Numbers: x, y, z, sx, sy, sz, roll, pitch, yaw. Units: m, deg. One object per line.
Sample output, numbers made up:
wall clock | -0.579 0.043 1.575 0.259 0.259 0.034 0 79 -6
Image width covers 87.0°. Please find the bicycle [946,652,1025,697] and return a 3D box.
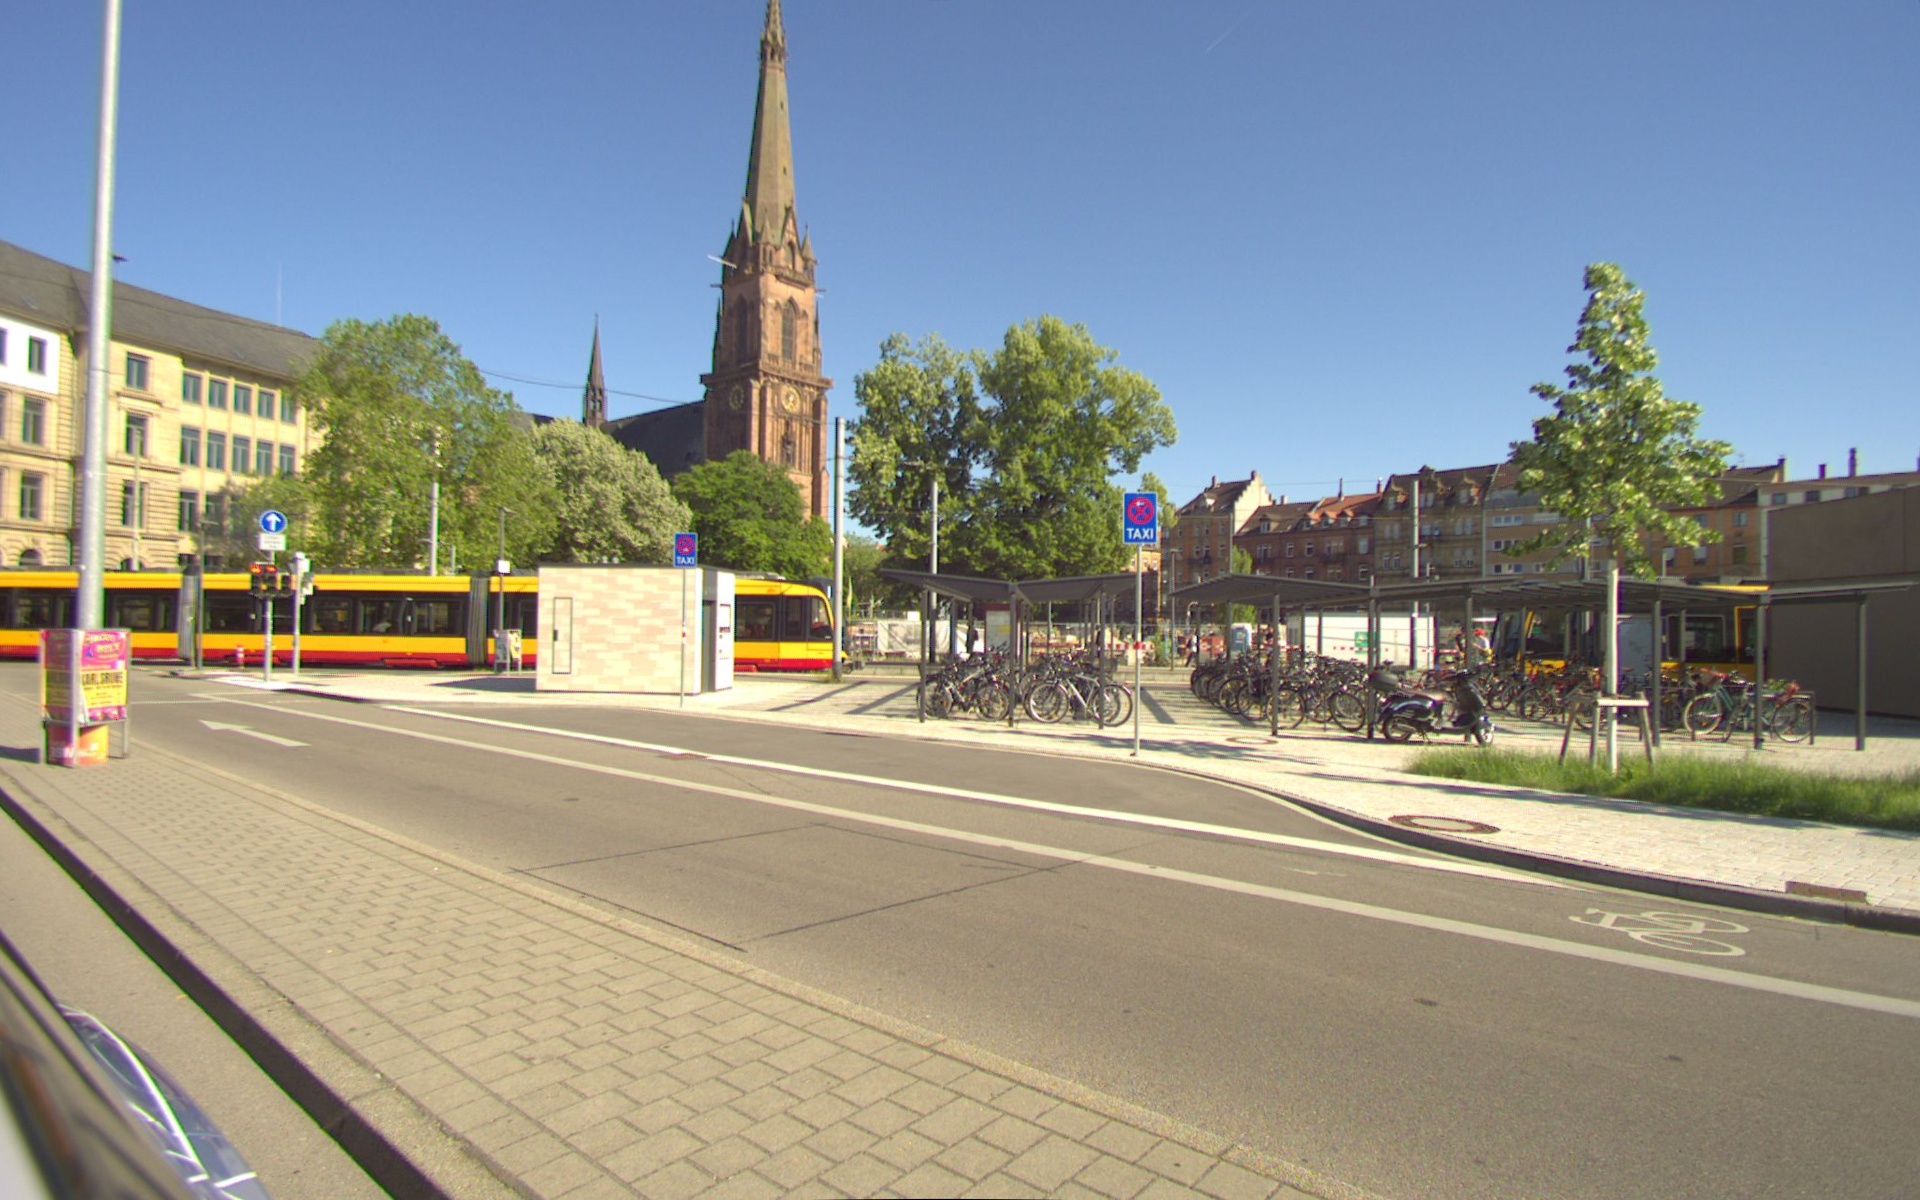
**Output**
bicycle | 0.618 1.759 24.115 1.809 1.015 0.627 0 -2 9

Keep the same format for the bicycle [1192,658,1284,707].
bicycle | 5.968 1.766 21.806 1.805 1.015 0.629 0 -2 0

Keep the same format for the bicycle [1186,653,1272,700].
bicycle | 6.120 1.730 23.111 1.807 1.015 0.628 0 -2 5

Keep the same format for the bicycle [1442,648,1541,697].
bicycle | 11.686 1.586 22.307 1.809 1.015 0.627 0 -2 9

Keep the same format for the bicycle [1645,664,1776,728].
bicycle | 13.589 1.726 18.360 1.808 1.101 0.627 0 -2 7

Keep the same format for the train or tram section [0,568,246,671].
train or tram section | -33.566 0.707 37.832 12.382 3.628 2.796 0 -2 6

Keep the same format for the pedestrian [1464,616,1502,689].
pedestrian | 13.527 1.348 26.194 0.595 1.869 0.683 2 -2 -38

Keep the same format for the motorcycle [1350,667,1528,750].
motorcycle | 7.167 1.612 15.234 2.333 1.167 0.610 0 -2 7

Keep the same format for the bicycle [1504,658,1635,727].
bicycle | 11.296 1.696 18.802 2.029 1.218 0.505 0 -2 8

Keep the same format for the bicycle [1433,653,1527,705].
bicycle | 11.999 1.824 23.403 1.809 1.140 0.627 0 -2 9

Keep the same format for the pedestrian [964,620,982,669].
pedestrian | 0.490 1.705 39.072 0.671 1.869 0.605 0 -2 -1

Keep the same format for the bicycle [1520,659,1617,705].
bicycle | 14.051 1.890 23.406 1.808 1.015 0.627 0 -2 7

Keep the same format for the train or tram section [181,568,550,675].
train or tram section | -21.312 0.760 36.538 12.174 3.628 2.796 0 -2 6

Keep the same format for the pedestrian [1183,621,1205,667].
pedestrian | 10.556 1.973 45.625 0.861 2.029 0.749 0 -2 5

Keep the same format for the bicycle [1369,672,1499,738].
bicycle | 7.766 1.713 16.651 1.808 1.015 0.627 0 -2 7

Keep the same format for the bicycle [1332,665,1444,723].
bicycle | 7.999 1.758 18.971 1.808 1.015 0.627 0 -2 7

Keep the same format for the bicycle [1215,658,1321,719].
bicycle | 5.875 1.691 19.410 1.859 1.101 0.626 0 -2 8

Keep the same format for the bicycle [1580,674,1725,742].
bicycle | 11.157 1.731 16.349 1.809 1.015 0.627 0 -2 9

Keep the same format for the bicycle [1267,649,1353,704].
bicycle | 8.235 1.794 23.876 1.808 1.242 0.627 0 -2 7

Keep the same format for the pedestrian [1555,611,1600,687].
pedestrian | 15.460 1.211 25.337 0.700 1.869 0.751 2 -2 -38

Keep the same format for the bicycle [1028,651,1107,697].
bicycle | 2.509 1.712 23.610 1.808 1.015 0.627 0 -2 7

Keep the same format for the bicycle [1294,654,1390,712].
bicycle | 8.109 1.755 21.528 1.808 1.170 0.627 0 -2 7

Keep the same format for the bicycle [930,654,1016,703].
bicycle | 0.288 1.699 22.172 1.809 1.015 0.627 0 -2 9

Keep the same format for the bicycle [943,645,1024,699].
bicycle | 0.561 1.656 23.415 1.809 1.188 0.627 0 -2 9

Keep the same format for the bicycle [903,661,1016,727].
bicycle | 0.004 1.591 17.371 1.847 1.015 0.699 2 -2 9

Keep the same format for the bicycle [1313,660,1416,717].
bicycle | 8.073 1.756 20.262 1.808 1.088 0.627 0 -2 7

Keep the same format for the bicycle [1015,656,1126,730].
bicycle | 1.863 1.564 17.134 1.808 1.167 0.627 1 -2 7

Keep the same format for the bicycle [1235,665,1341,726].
bicycle | 5.852 1.694 18.132 1.731 1.015 0.547 0 -2 10

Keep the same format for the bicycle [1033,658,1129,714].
bicycle | 2.319 1.644 19.541 1.808 1.015 0.745 0 -2 7

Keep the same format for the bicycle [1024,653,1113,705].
bicycle | 2.228 1.618 20.849 1.808 1.015 0.627 0 -2 7

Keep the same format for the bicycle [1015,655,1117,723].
bicycle | 1.908 1.586 18.276 1.808 1.157 0.627 0 -2 7

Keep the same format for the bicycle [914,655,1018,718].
bicycle | 0.115 1.546 18.237 1.809 1.074 0.627 0 -2 9

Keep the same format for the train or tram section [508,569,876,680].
train or tram section | -9.170 0.816 35.244 12.174 3.628 2.828 0 -2 6

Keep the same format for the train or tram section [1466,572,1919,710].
train or tram section | 21.314 1.099 28.655 12.179 3.628 2.748 0 -2 7

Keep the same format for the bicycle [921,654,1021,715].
bicycle | 0.211 1.552 18.766 1.809 1.059 0.571 0 -2 9

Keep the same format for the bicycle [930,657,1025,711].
bicycle | 0.359 1.644 19.985 1.809 1.015 0.627 0 -2 9

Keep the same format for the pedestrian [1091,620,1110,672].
pedestrian | 5.136 1.665 37.032 0.673 1.869 0.604 0 -2 6

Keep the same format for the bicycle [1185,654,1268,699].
bicycle | 6.250 1.795 23.799 1.808 1.015 0.627 0 -2 6

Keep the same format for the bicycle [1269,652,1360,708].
bicycle | 7.927 1.776 22.679 1.808 1.198 0.647 0 -2 7

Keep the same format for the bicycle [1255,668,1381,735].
bicycle | 5.976 1.685 16.979 1.871 1.050 0.688 0 -2 9

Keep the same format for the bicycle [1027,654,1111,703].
bicycle | 2.376 1.696 22.124 1.808 1.015 0.627 0 -2 7

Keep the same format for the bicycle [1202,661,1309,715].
bicycle | 5.948 1.770 20.432 1.978 1.015 0.628 0 -2 4

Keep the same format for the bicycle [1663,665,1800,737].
bicycle | 12.990 1.697 17.065 1.805 1.155 0.629 0 -2 0

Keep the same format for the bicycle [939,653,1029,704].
bicycle | 0.511 1.624 21.140 1.809 1.015 0.627 0 -2 9

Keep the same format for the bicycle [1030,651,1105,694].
bicycle | 2.631 1.767 24.810 1.808 1.015 0.627 0 -2 7

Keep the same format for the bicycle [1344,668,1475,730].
bicycle | 7.918 1.739 17.877 2.003 1.015 0.627 0 -2 7

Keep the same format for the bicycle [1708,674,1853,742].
bicycle | 13.019 1.704 16.077 1.803 1.015 0.629 1 -2 -3

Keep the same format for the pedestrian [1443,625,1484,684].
pedestrian | 17.664 1.913 35.510 0.997 2.029 0.872 0 -2 0

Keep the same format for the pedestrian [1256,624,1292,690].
pedestrian | 8.149 1.469 26.249 0.762 1.672 0.604 0 -2 4

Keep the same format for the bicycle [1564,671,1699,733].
bicycle | 11.602 1.751 17.526 1.872 1.004 0.499 0 -2 13

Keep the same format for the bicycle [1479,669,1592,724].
bicycle | 11.260 1.882 19.841 1.809 1.015 0.627 0 -2 9
